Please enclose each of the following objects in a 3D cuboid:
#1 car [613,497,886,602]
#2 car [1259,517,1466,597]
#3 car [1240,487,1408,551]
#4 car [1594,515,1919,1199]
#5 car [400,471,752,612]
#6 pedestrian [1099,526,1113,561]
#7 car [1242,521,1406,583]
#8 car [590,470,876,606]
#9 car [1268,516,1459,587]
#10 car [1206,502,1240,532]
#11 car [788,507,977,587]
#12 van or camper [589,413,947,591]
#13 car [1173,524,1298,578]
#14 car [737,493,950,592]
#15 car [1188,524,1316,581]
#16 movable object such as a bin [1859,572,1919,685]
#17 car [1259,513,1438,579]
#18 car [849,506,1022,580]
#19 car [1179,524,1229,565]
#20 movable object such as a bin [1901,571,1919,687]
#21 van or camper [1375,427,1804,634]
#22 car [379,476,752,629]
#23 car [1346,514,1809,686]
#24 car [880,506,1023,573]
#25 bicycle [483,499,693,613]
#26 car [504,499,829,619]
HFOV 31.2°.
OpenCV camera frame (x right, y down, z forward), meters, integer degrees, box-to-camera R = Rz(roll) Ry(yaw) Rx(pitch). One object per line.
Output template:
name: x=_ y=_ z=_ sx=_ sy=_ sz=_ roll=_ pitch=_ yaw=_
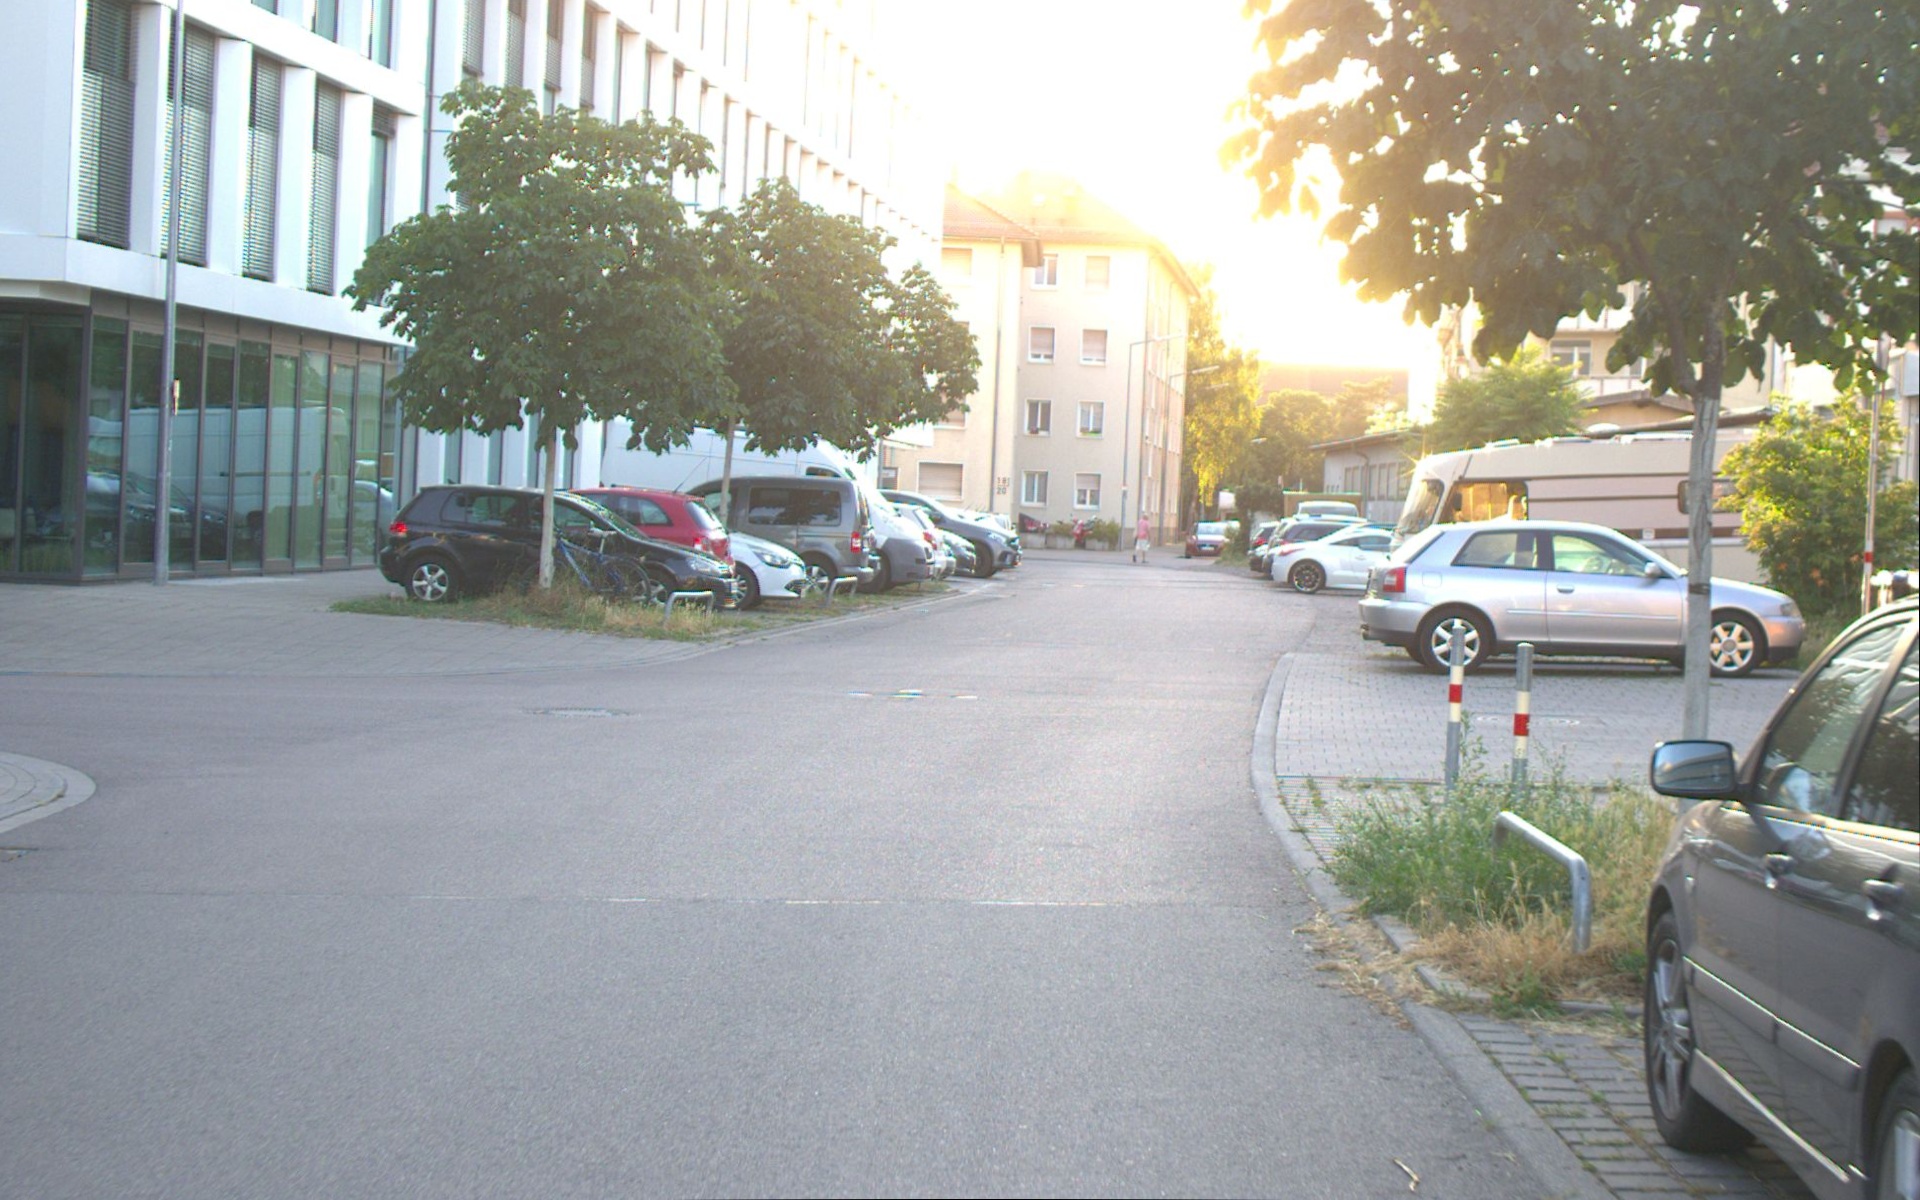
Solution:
car: x=-3.233 y=-0.796 z=53.316 sx=4.050 sy=1.519 sz=1.736 roll=1 pitch=3 yaw=2
car: x=8.052 y=-0.880 z=68.906 sx=4.051 sy=1.474 sz=1.767 roll=1 pitch=3 yaw=6
car: x=9.795 y=-2.198 z=92.747 sx=4.342 sy=1.638 sz=1.816 roll=1 pitch=3 yaw=1
car: x=2.391 y=0.656 z=6.517 sx=1.724 sy=1.574 sz=4.598 roll=2 pitch=1 yaw=3
car: x=-4.822 y=-0.746 z=43.454 sx=4.051 sy=1.474 sz=1.767 roll=4 pitch=2 yaw=6
pedestrian: x=5.870 y=-2.276 z=137.972 sx=0.501 sy=1.374 sz=0.454 roll=2 pitch=1 yaw=3
car: x=9.398 y=-1.250 z=88.938 sx=4.050 sy=1.474 sz=1.768 roll=1 pitch=3 yaw=1
car: x=-3.326 y=-0.930 z=50.864 sx=4.050 sy=1.901 sz=1.736 roll=1 pitch=3 yaw=2
car: x=8.971 y=-1.087 z=76.670 sx=4.050 sy=1.474 sz=1.768 roll=1 pitch=3 yaw=1
car: x=14.045 y=-4.408 z=183.463 sx=1.742 sy=1.520 sz=3.551 roll=2 pitch=2 yaw=4
car: x=-1.529 y=-1.059 z=68.124 sx=3.560 sy=1.474 sz=1.458 roll=1 pitch=3 yaw=6
van or camper: x=-3.090 y=-1.611 z=55.823 sx=5.454 sy=2.475 sz=1.775 roll=4 pitch=3 yaw=6
car: x=8.951 y=-1.600 z=111.879 sx=3.905 sy=1.638 sz=1.710 roll=1 pitch=3 yaw=1
car: x=-2.038 y=-1.025 z=60.596 sx=3.560 sy=1.646 sz=1.457 roll=1 pitch=3 yaw=6
car: x=9.009 y=-1.473 z=106.272 sx=3.786 sy=1.638 sz=1.696 roll=1 pitch=3 yaw=1
movable object such as a bin: x=8.651 y=0.256 z=31.553 sx=0.578 sy=1.007 sz=0.689 roll=2 pitch=1 yaw=1
car: x=9.233 y=-1.301 z=81.910 sx=4.050 sy=1.474 sz=1.768 roll=1 pitch=3 yaw=1
car: x=-0.519 y=-1.237 z=73.982 sx=3.560 sy=1.474 sz=1.458 roll=1 pitch=3 yaw=6
car: x=9.948 y=-2.262 z=140.082 sx=1.950 sy=1.579 sz=3.640 roll=2 pitch=2 yaw=4
movable object such as a bin: x=8.843 y=0.267 z=30.848 sx=0.578 sy=1.007 sz=0.689 roll=2 pitch=2 yaw=1
van or camper: x=8.815 y=-1.012 z=48.617 sx=5.610 sy=2.780 sz=2.430 roll=1 pitch=3 yaw=2
car: x=-4.615 y=-0.577 z=40.550 sx=4.050 sy=1.474 sz=1.768 roll=4 pitch=3 yaw=3
car: x=5.783 y=-0.026 z=32.540 sx=4.050 sy=1.474 sz=1.768 roll=1 pitch=3 yaw=1
car: x=-0.185 y=-1.357 z=76.500 sx=3.016 sy=1.416 sz=1.458 roll=1 pitch=3 yaw=6
bicycle: x=-4.154 y=-0.497 z=38.518 sx=2.179 sy=1.170 sz=0.811 roll=2 pitch=1 yaw=6
car: x=-3.891 y=-0.567 z=45.932 sx=4.051 sy=1.474 sz=1.767 roll=1 pitch=3 yaw=6
